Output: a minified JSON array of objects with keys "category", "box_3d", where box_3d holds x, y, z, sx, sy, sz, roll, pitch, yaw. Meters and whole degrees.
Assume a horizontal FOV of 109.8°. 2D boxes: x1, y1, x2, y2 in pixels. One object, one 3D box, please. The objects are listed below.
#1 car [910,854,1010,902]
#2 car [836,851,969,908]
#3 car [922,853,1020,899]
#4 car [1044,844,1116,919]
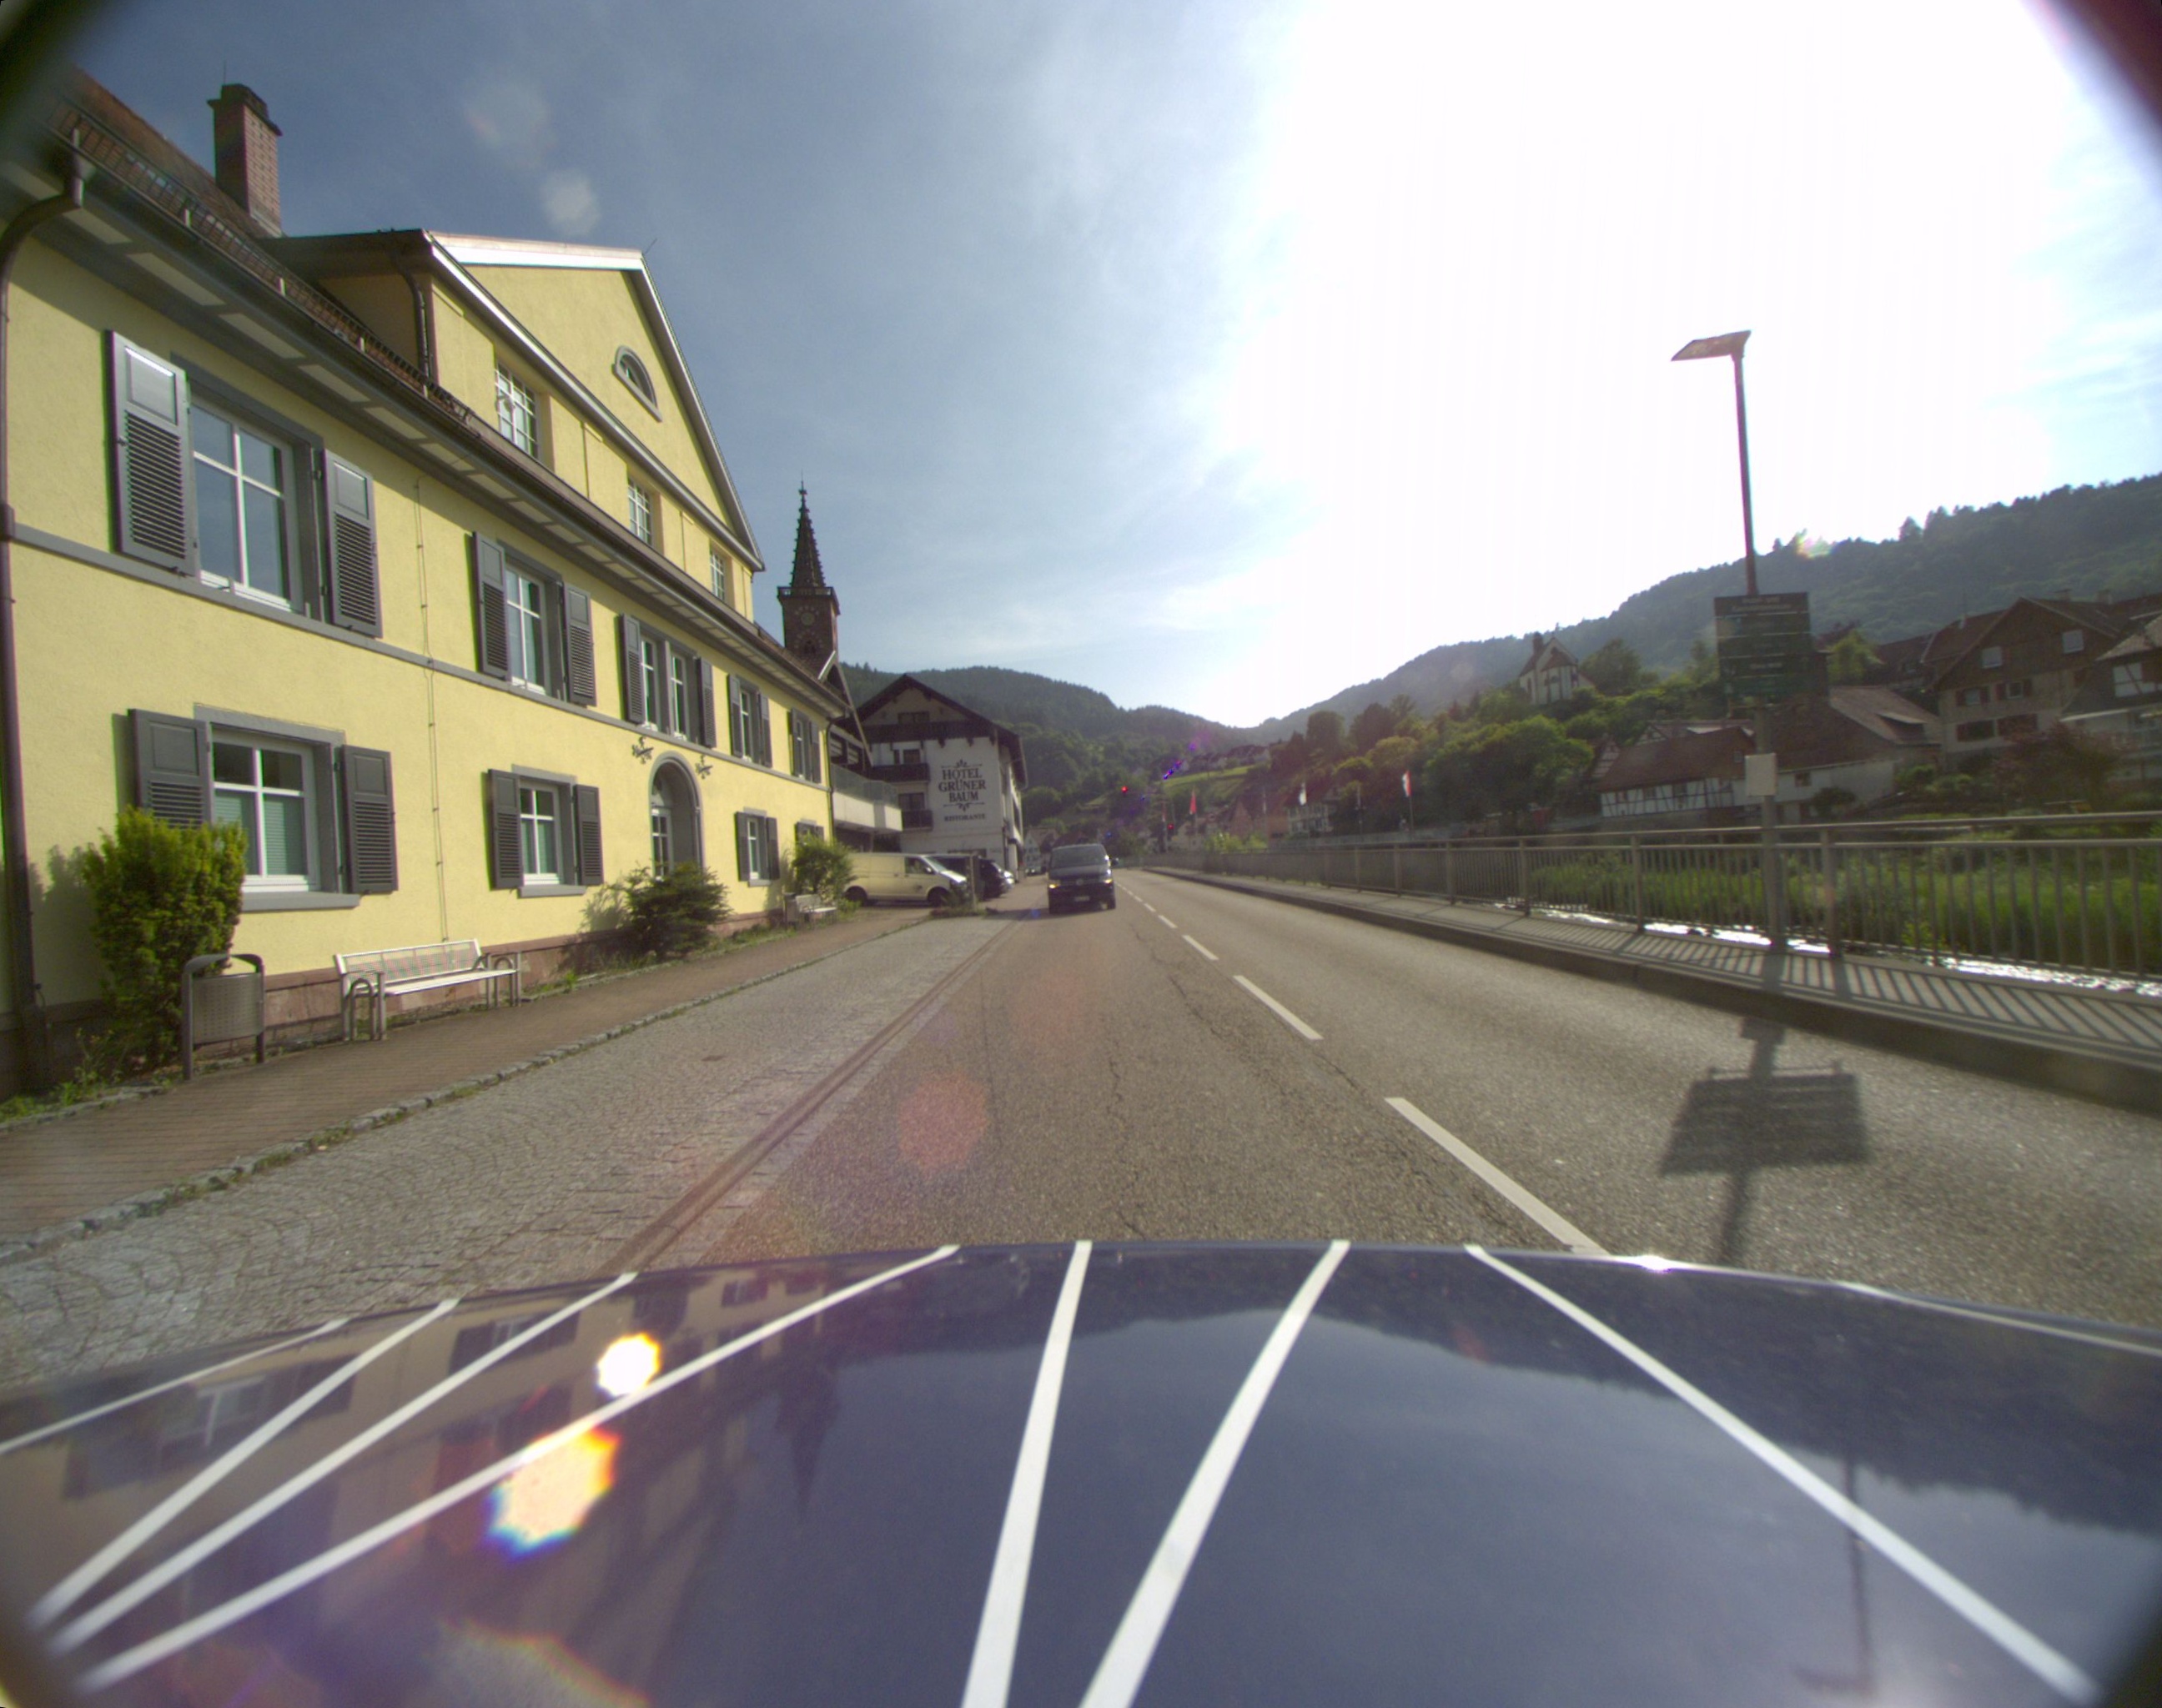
[{"category":"car","box_3d":[-4.862,0.944,30.783,3.755,1.882,1.372,0,0,2]},{"category":"car","box_3d":[-6.529,0.923,28.069,4.453,1.947,1.714,1,0,2]},{"category":"car","box_3d":[-4.779,0.954,33.397,3.996,1.870,1.685,-1,0,3]},{"category":"car","box_3d":[0.017,0.768,23.231,1.887,1.952,4.866,-3,0,1]}]
